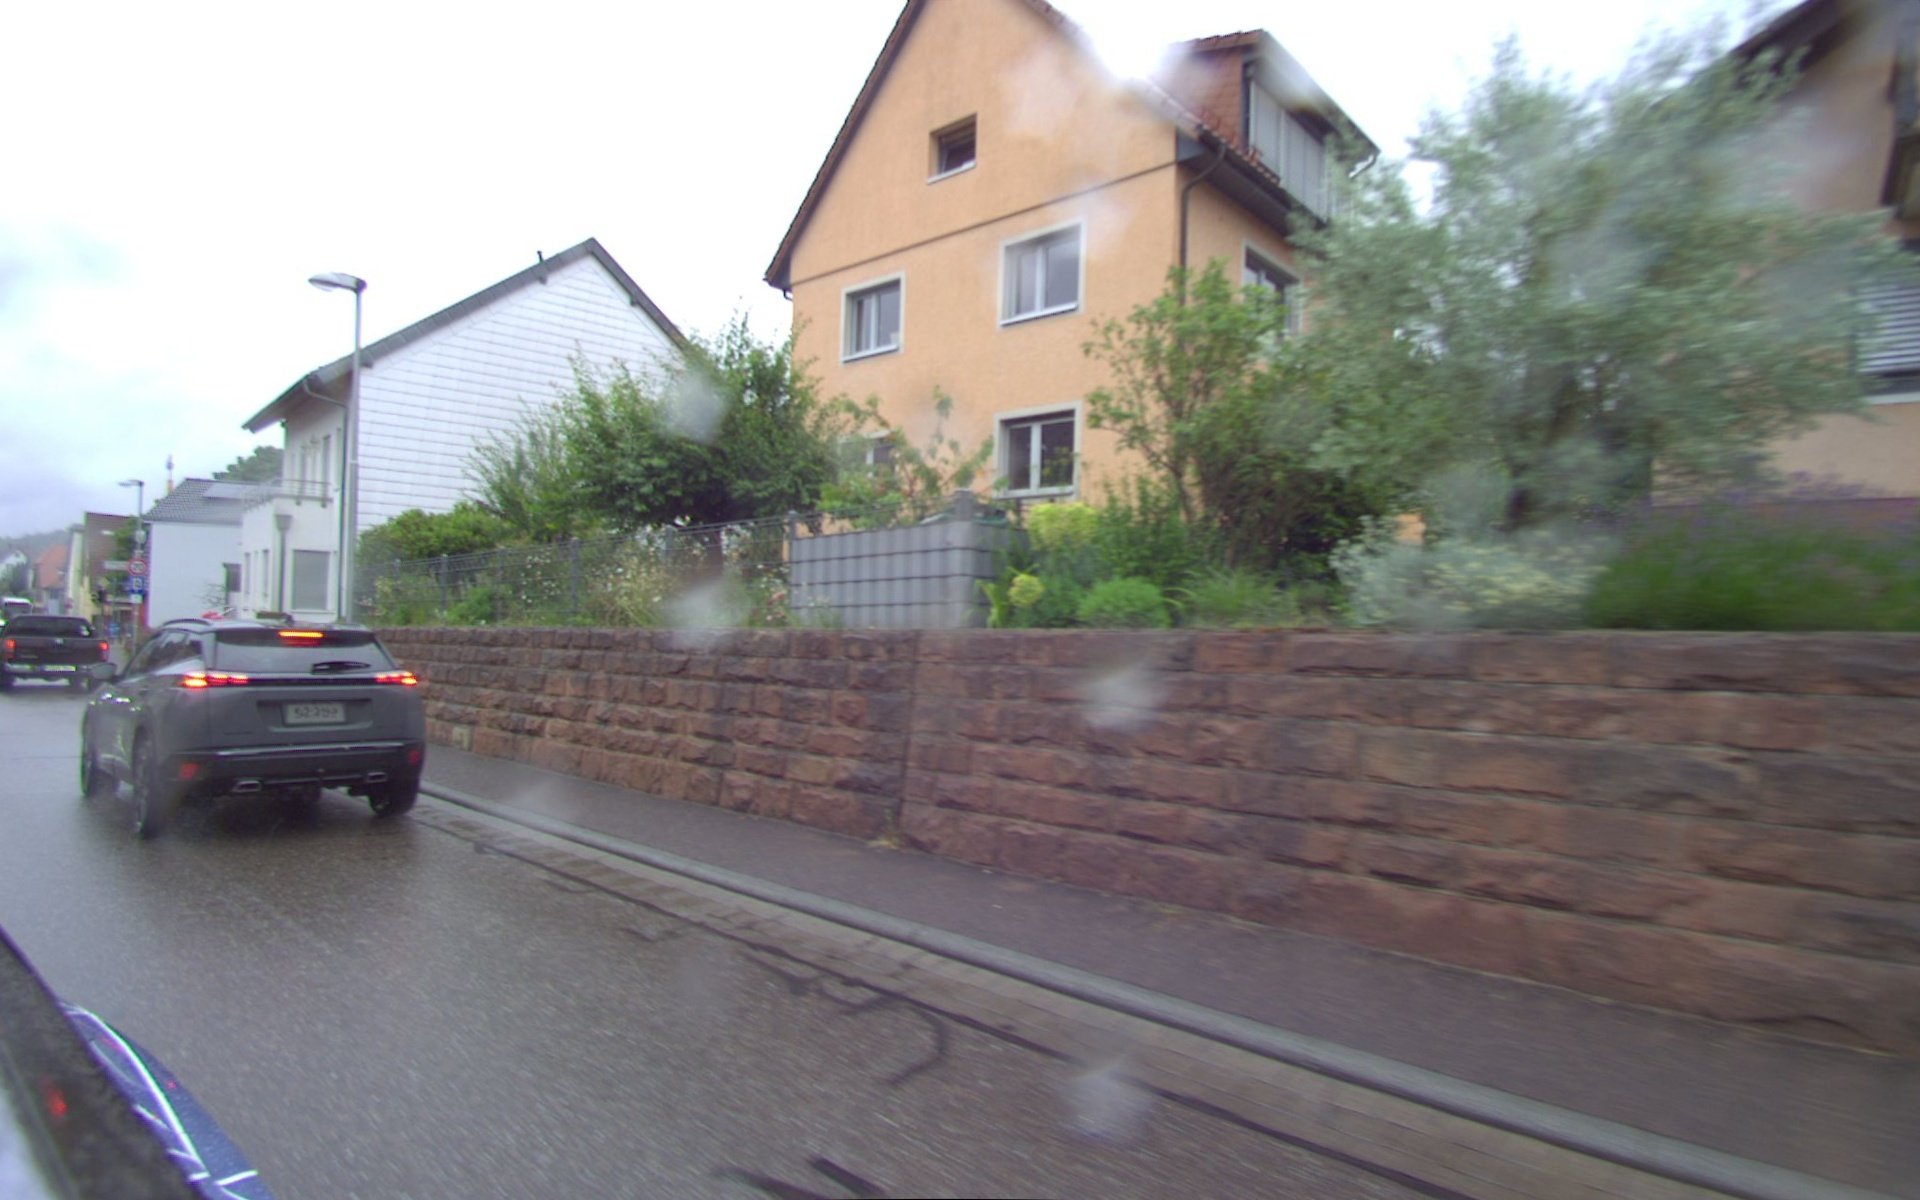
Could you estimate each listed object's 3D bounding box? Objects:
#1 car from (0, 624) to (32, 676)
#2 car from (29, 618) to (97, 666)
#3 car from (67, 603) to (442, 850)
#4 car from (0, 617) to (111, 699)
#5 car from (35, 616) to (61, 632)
[{"bbox_3d":[-29.510,1.500,30.809,3.717,1.493,1.561,-2,-5,44],"label":"car"},{"bbox_3d":[-34.425,1.582,38.911,1.788,1.697,4.190,3,-2,-40],"label":"car"},{"bbox_3d":[-5.945,0.885,8.356,3.850,1.558,1.681,-2,-5,43],"label":"car"},{"bbox_3d":[-21.519,1.283,23.802,5.199,1.686,1.813,0,-3,44],"label":"car"},{"bbox_3d":[-90.600,2.404,100.599,1.833,1.517,4.167,3,-2,-42],"label":"car"}]
